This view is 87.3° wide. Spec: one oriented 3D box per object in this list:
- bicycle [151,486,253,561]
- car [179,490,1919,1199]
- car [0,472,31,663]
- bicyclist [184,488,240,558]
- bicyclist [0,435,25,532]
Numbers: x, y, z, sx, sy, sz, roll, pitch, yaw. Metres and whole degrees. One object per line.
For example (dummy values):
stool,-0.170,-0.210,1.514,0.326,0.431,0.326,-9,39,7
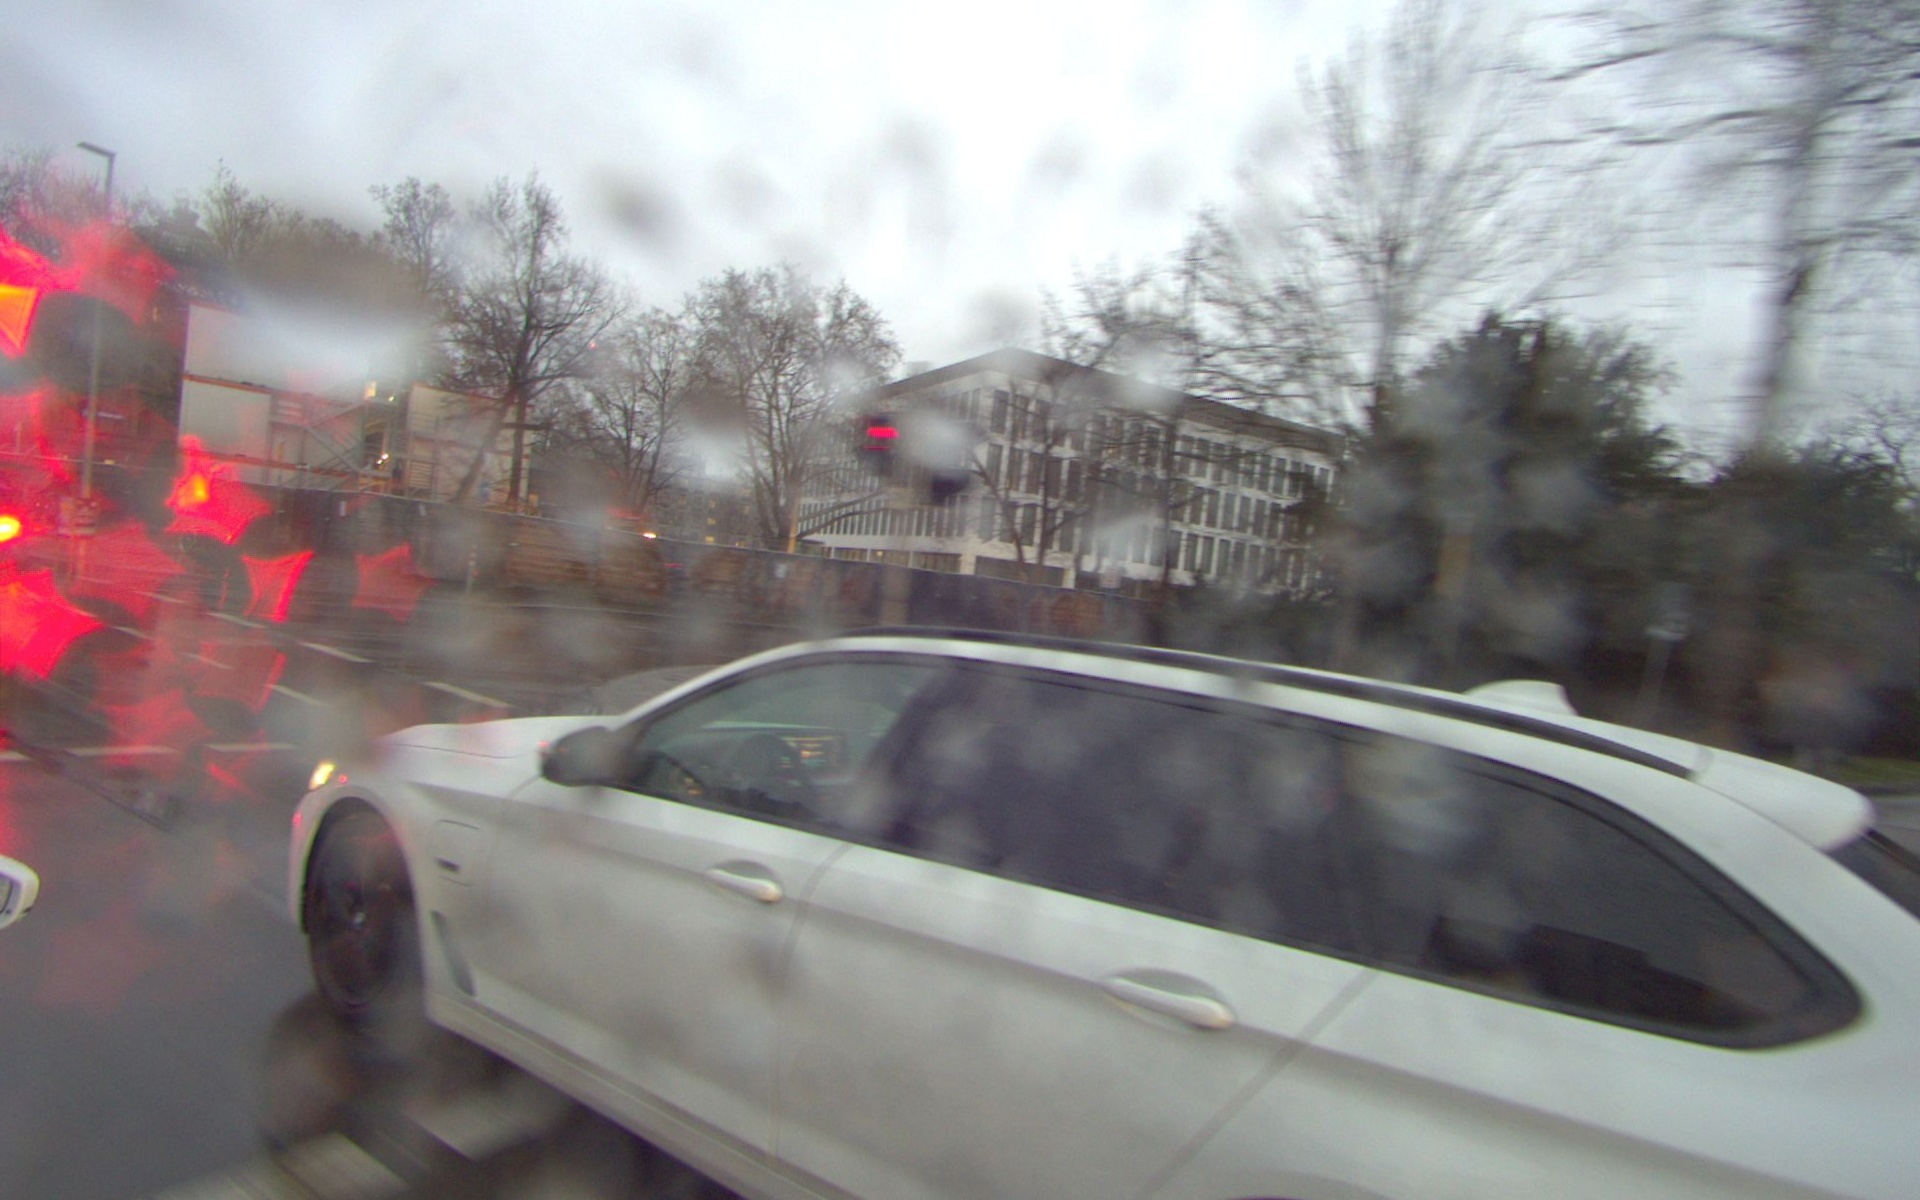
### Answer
bicycle,-19.896,-2.000,26.406,2.204,1.677,0.690,7,0,10
car,-0.096,0.680,2.934,4.885,1.519,1.790,6,-1,32
car,-9.552,-0.495,8.433,3.938,1.497,1.724,6,-1,35
bicyclist,-19.546,-2.005,26.308,0.802,1.700,0.697,7,1,11
bicyclist,-18.344,-2.234,19.120,0.823,1.790,0.500,8,2,29
